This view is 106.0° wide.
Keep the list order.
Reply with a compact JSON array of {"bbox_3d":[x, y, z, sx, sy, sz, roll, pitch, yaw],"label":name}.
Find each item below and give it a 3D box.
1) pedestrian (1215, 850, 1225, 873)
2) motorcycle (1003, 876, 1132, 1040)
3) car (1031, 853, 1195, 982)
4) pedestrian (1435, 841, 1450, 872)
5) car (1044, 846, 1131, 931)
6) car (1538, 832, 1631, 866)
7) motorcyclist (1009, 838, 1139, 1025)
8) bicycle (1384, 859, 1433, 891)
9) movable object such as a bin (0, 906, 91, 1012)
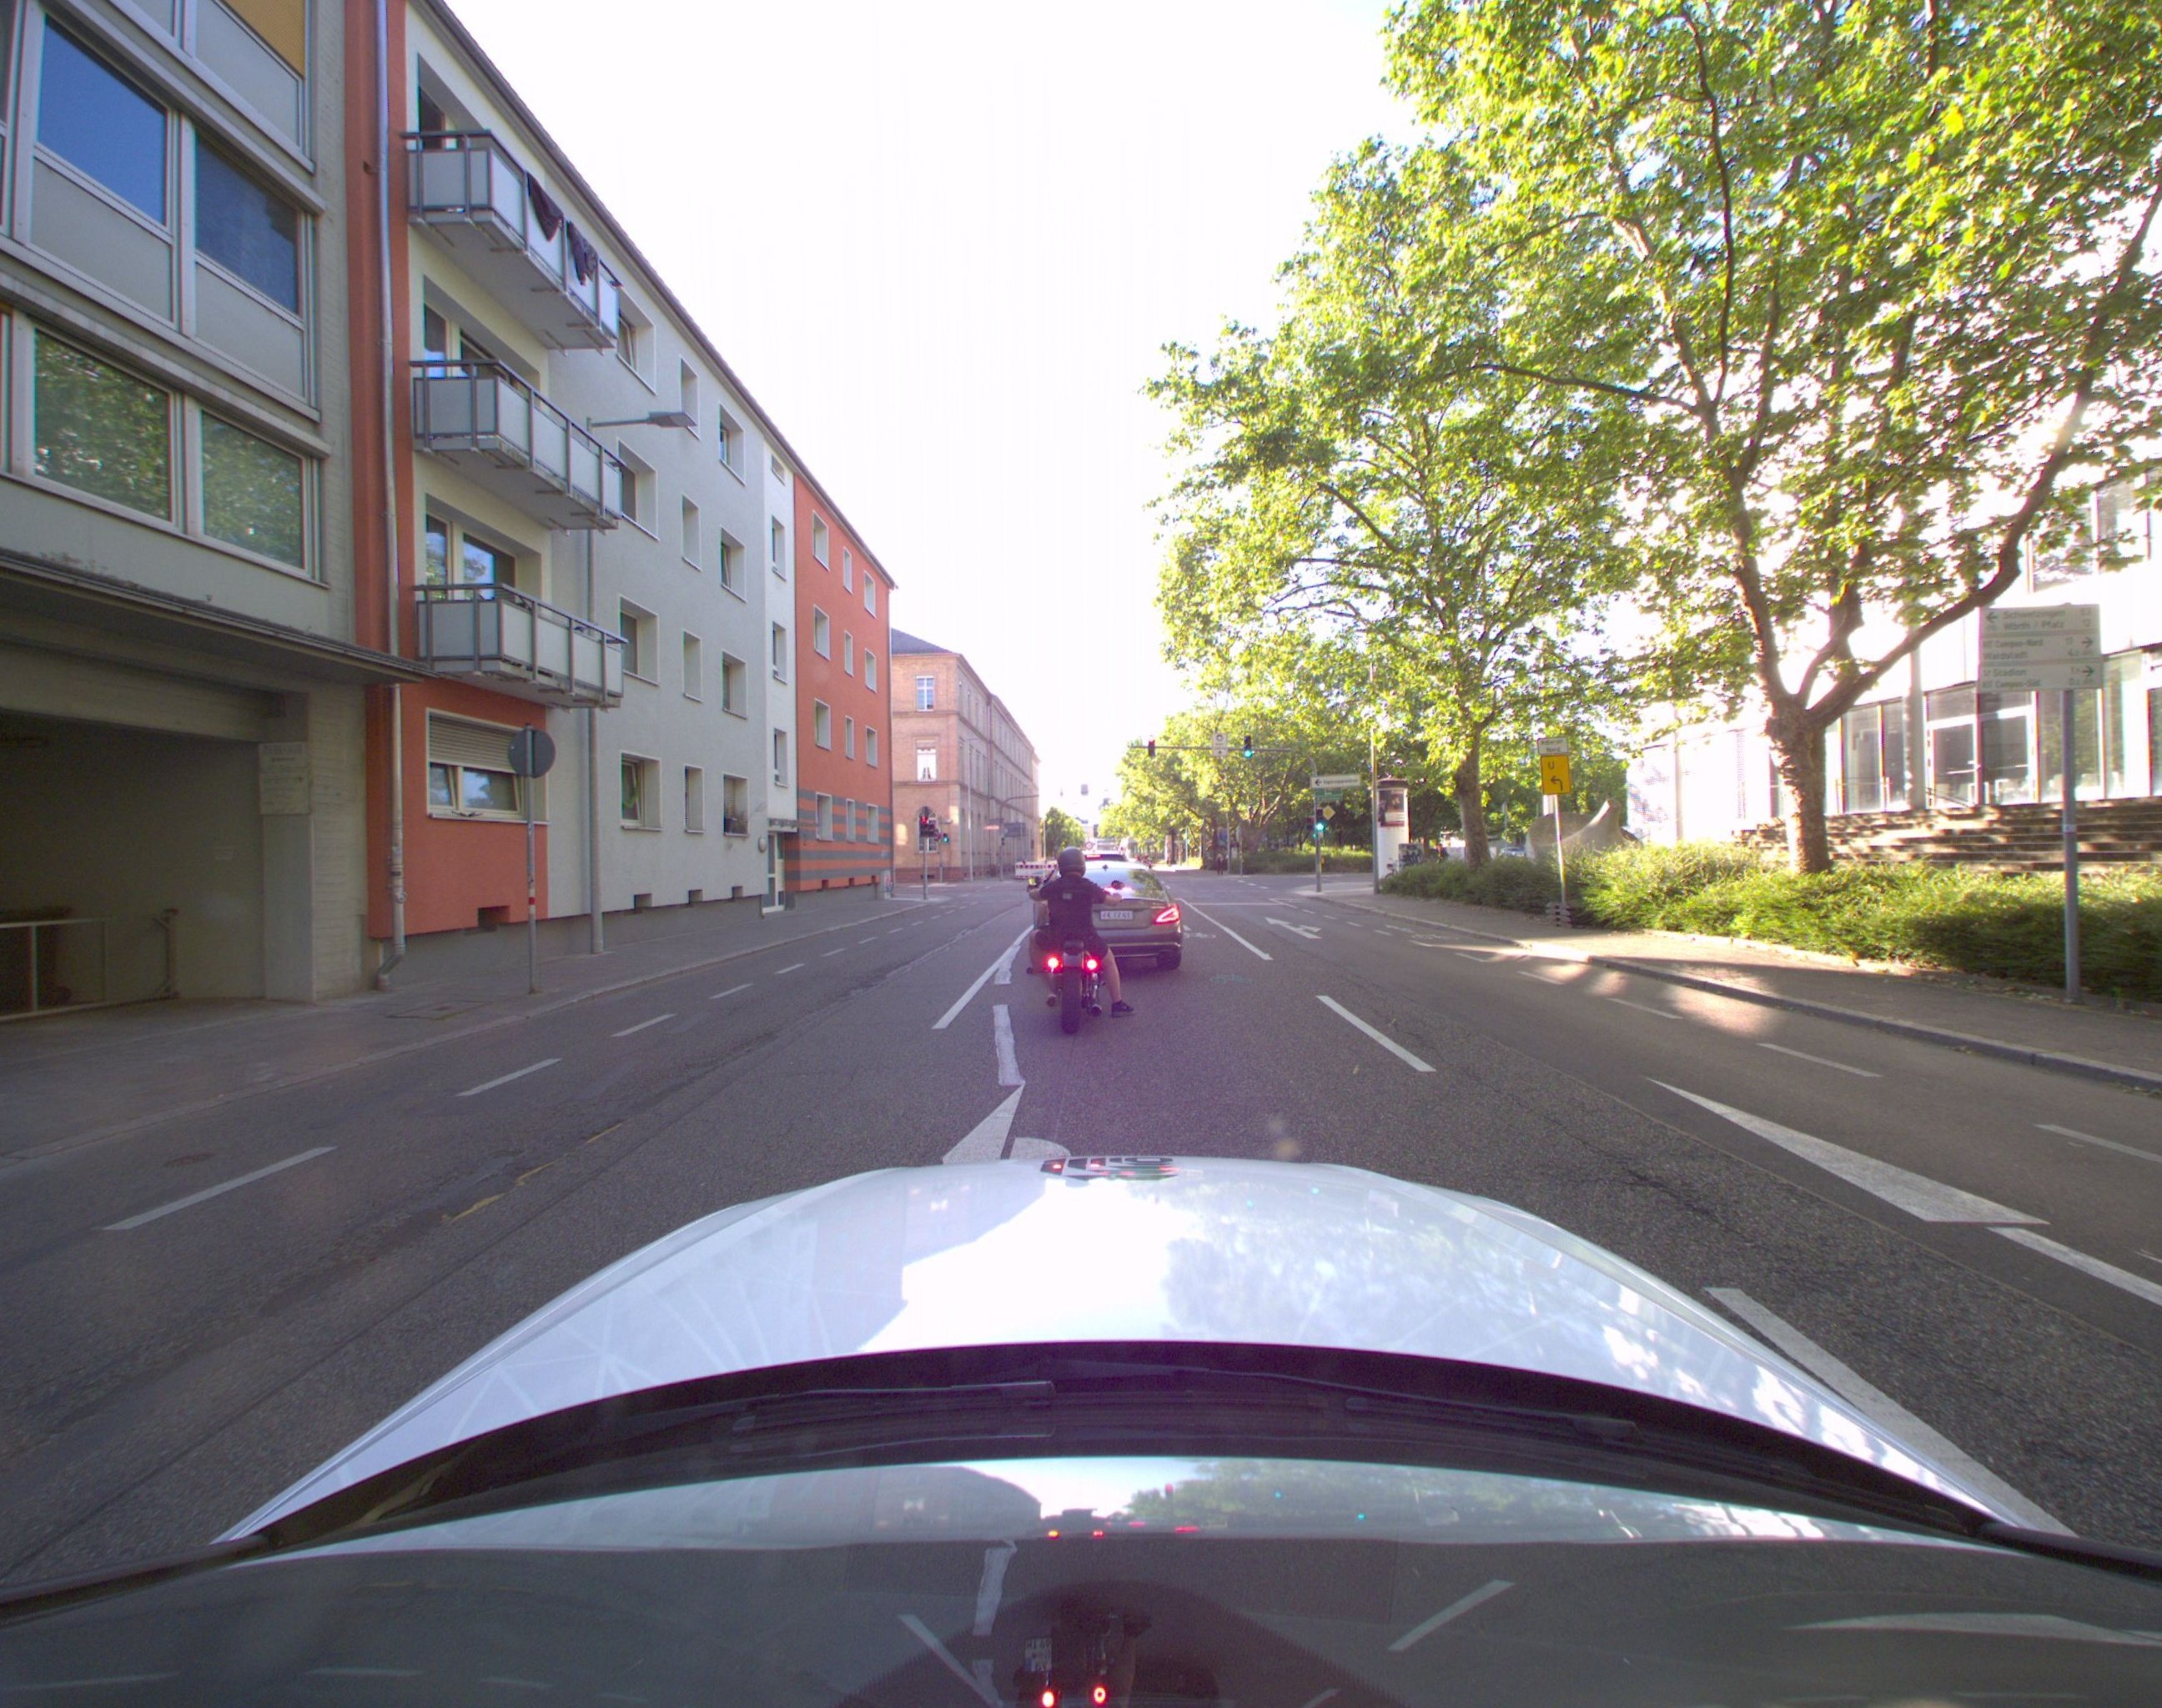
[{"bbox_3d":[10.076,0.554,59.077,0.557,1.678,0.565,-1,0,1],"label":"pedestrian"},{"bbox_3d":[-0.066,0.863,7.800,1.003,1.204,2.666,-1,0,2],"label":"motorcycle"},{"bbox_3d":[0.250,0.748,11.751,1.818,1.476,4.346,-1,0,-5],"label":"car"},{"bbox_3d":[21.175,0.154,47.752,0.617,1.784,0.631,-1,0,4],"label":"pedestrian"},{"bbox_3d":[0.147,0.678,17.823,1.676,1.625,3.841,-1,0,1],"label":"car"},{"bbox_3d":[28.180,-0.252,45.668,3.975,1.784,2.004,-1,0,7],"label":"car"},{"bbox_3d":[-0.043,0.675,7.691,1.109,1.613,1.202,-1,0,1],"label":"motorcyclist"},{"bbox_3d":[10.981,0.710,27.330,1.411,1.037,0.538,-1,0,-2],"label":"bicycle"},{"bbox_3d":[-11.255,1.097,8.655,0.584,1.040,0.712,-1,0,2],"label":"movable object such as a bin"}]
